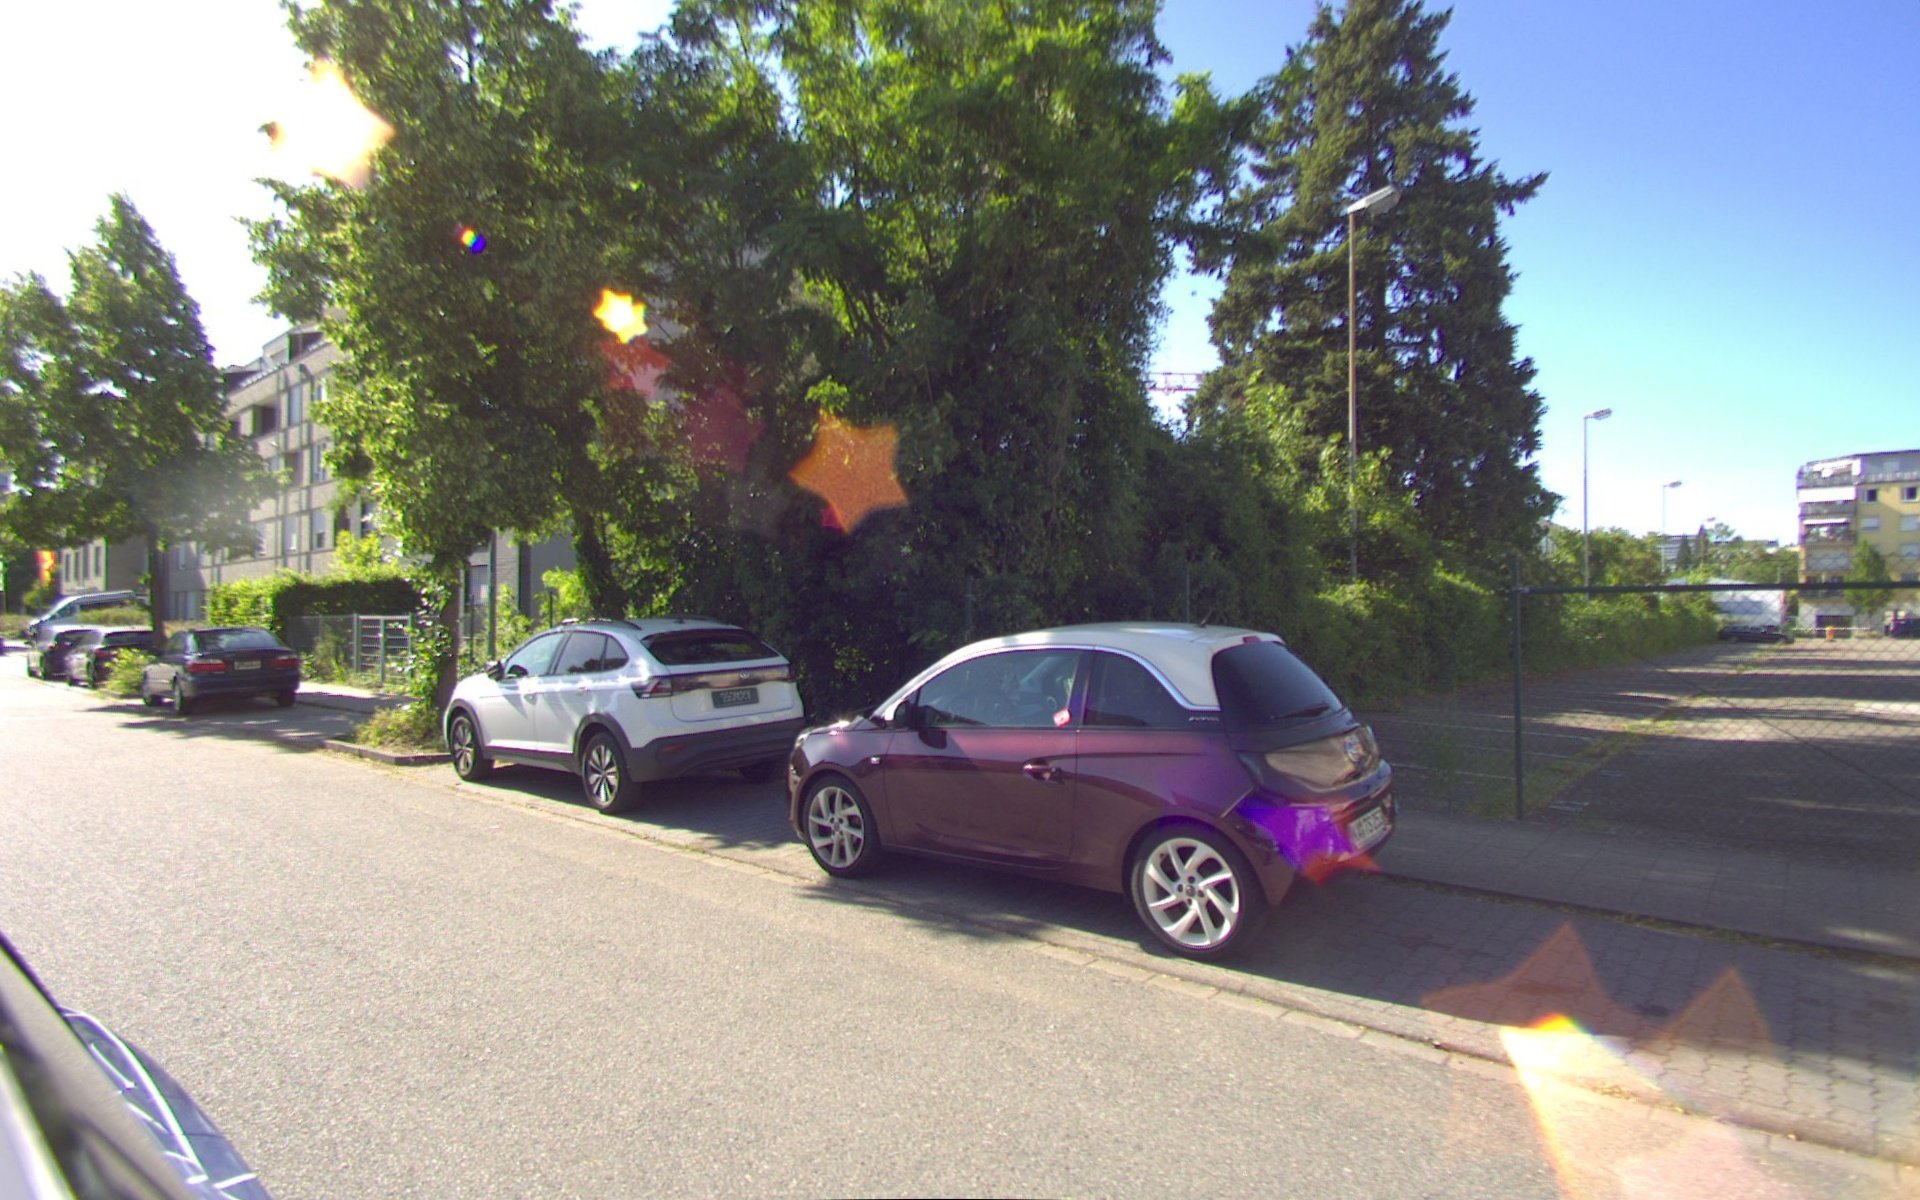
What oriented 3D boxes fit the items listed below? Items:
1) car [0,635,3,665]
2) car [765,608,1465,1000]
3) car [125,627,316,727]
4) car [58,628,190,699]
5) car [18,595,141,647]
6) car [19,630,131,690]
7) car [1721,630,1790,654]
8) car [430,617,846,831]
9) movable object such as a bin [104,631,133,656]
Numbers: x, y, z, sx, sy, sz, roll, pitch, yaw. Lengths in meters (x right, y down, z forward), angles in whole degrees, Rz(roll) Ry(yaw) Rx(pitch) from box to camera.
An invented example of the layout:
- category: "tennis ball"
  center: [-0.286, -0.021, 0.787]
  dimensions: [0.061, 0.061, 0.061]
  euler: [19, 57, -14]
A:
- category: "car"
  center: [-42.807, 2.170, 43.887]
  dimensions: [3.561, 1.257, 1.609]
  euler: [-1, 0, 42]
- category: "car"
  center: [0.722, 0.828, 5.741]
  dimensions: [3.542, 1.485, 1.701]
  euler: [-1, 0, 39]
- category: "car"
  center: [-13.279, 1.277, 18.080]
  dimensions: [4.357, 1.485, 1.821]
  euler: [-1, 0, 41]
- category: "car"
  center: [-20.289, 1.473, 24.509]
  dimensions: [4.025, 1.485, 1.821]
  euler: [-1, 0, 41]
- category: "car"
  center: [-51.387, 1.242, 59.163]
  dimensions: [2.011, 2.924, 5.091]
  euler: [-1, -2, 37]
- category: "car"
  center: [-25.016, 1.624, 28.564]
  dimensions: [4.097, 1.485, 1.821]
  euler: [-1, 0, 41]
- category: "car"
  center: [59.569, 3.122, 75.793]
  dimensions: [3.998, 1.630, 1.973]
  euler: [-1, -1, 41]
- category: "car"
  center: [-3.088, 0.936, 9.302]
  dimensions: [4.000, 1.485, 1.821]
  euler: [-1, 0, 41]
- category: "movable object such as a bin"
  center: [-38.014, 1.964, 45.730]
  dimensions: [0.677, 1.045, 0.852]
  euler: [-1, 1, 38]
